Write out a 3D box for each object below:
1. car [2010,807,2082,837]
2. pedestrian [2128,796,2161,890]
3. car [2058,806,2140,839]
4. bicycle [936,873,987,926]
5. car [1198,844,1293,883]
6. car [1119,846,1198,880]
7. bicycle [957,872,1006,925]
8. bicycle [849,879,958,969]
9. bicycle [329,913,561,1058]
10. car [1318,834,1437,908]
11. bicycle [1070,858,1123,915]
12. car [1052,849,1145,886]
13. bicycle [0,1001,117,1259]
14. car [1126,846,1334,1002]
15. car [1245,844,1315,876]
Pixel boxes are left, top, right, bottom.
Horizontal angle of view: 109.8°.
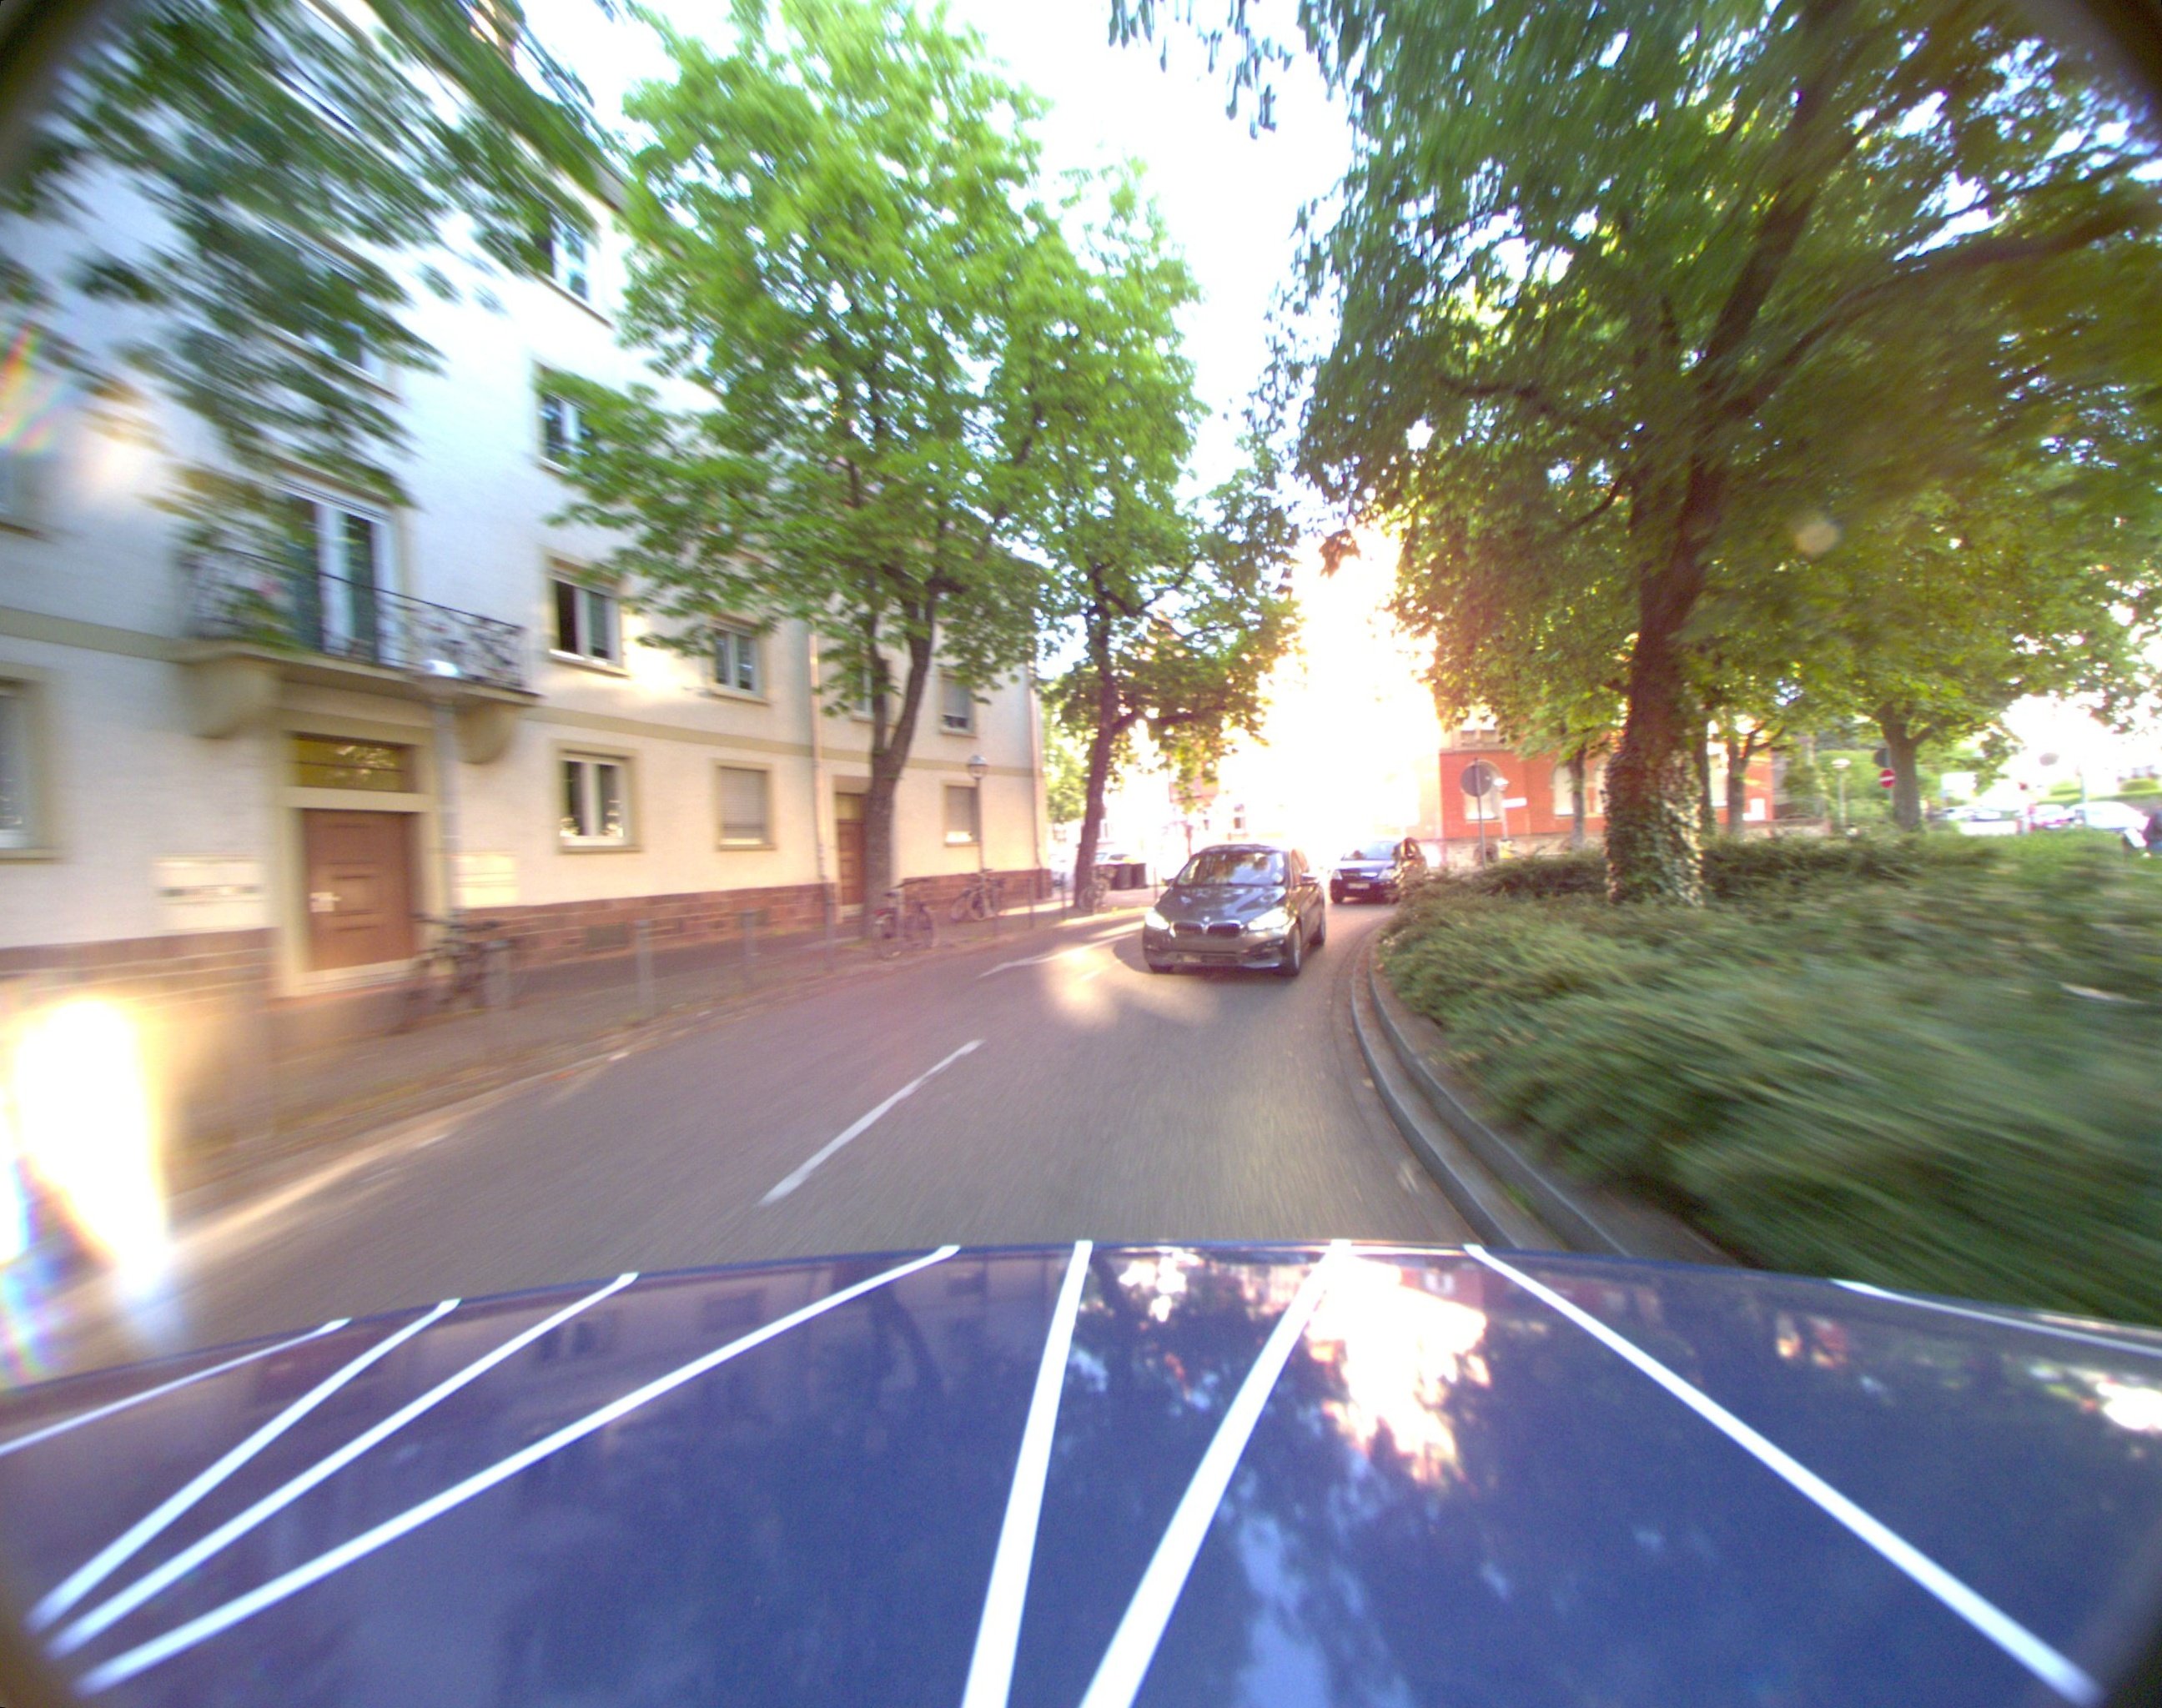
[{"bbox_3d":[54.011,-1.805,42.622,1.732,1.409,4.006,-3,2,41],"label":"car"},{"bbox_3d":[16.923,-0.182,11.762,0.708,1.435,0.601,-3,1,44],"label":"pedestrian"},{"bbox_3d":[48.877,-1.520,36.558,1.732,1.409,4.007,-3,0,45],"label":"car"},{"bbox_3d":[-2.721,1.027,17.461,0.334,1.087,1.638,-3,0,21],"label":"bicycle"},{"bbox_3d":[7.171,0.458,33.501,1.699,1.543,4.043,-3,0,-32],"label":"car"},{"bbox_3d":[3.935,0.491,39.142,1.809,1.543,4.176,-3,0,-32],"label":"car"},{"bbox_3d":[-2.285,1.015,17.684,0.334,1.087,1.638,-3,0,21],"label":"bicycle"},{"bbox_3d":[-2.740,1.056,11.974,0.718,1.216,1.916,-2,1,18],"label":"bicycle"},{"bbox_3d":[-6.324,1.244,7.727,0.802,1.112,1.858,-3,0,-3],"label":"bicycle"},{"bbox_3d":[7.476,0.374,18.950,1.676,1.619,3.695,-2,0,39],"label":"car"},{"bbox_3d":[0.417,0.799,19.272,0.766,1.297,1.905,-2,1,18],"label":"bicycle"},{"bbox_3d":[0.811,0.600,33.902,3.810,1.417,1.672,-3,0,-34],"label":"car"},{"bbox_3d":[-5.165,1.296,2.854,0.514,1.089,1.974,-1,1,1],"label":"bicycle"},{"bbox_3d":[2.217,0.739,10.210,1.790,1.569,4.267,-2,1,24],"label":"car"},{"bbox_3d":[9.992,0.319,38.359,1.495,1.531,3.208,-2,1,-32],"label":"car"}]
